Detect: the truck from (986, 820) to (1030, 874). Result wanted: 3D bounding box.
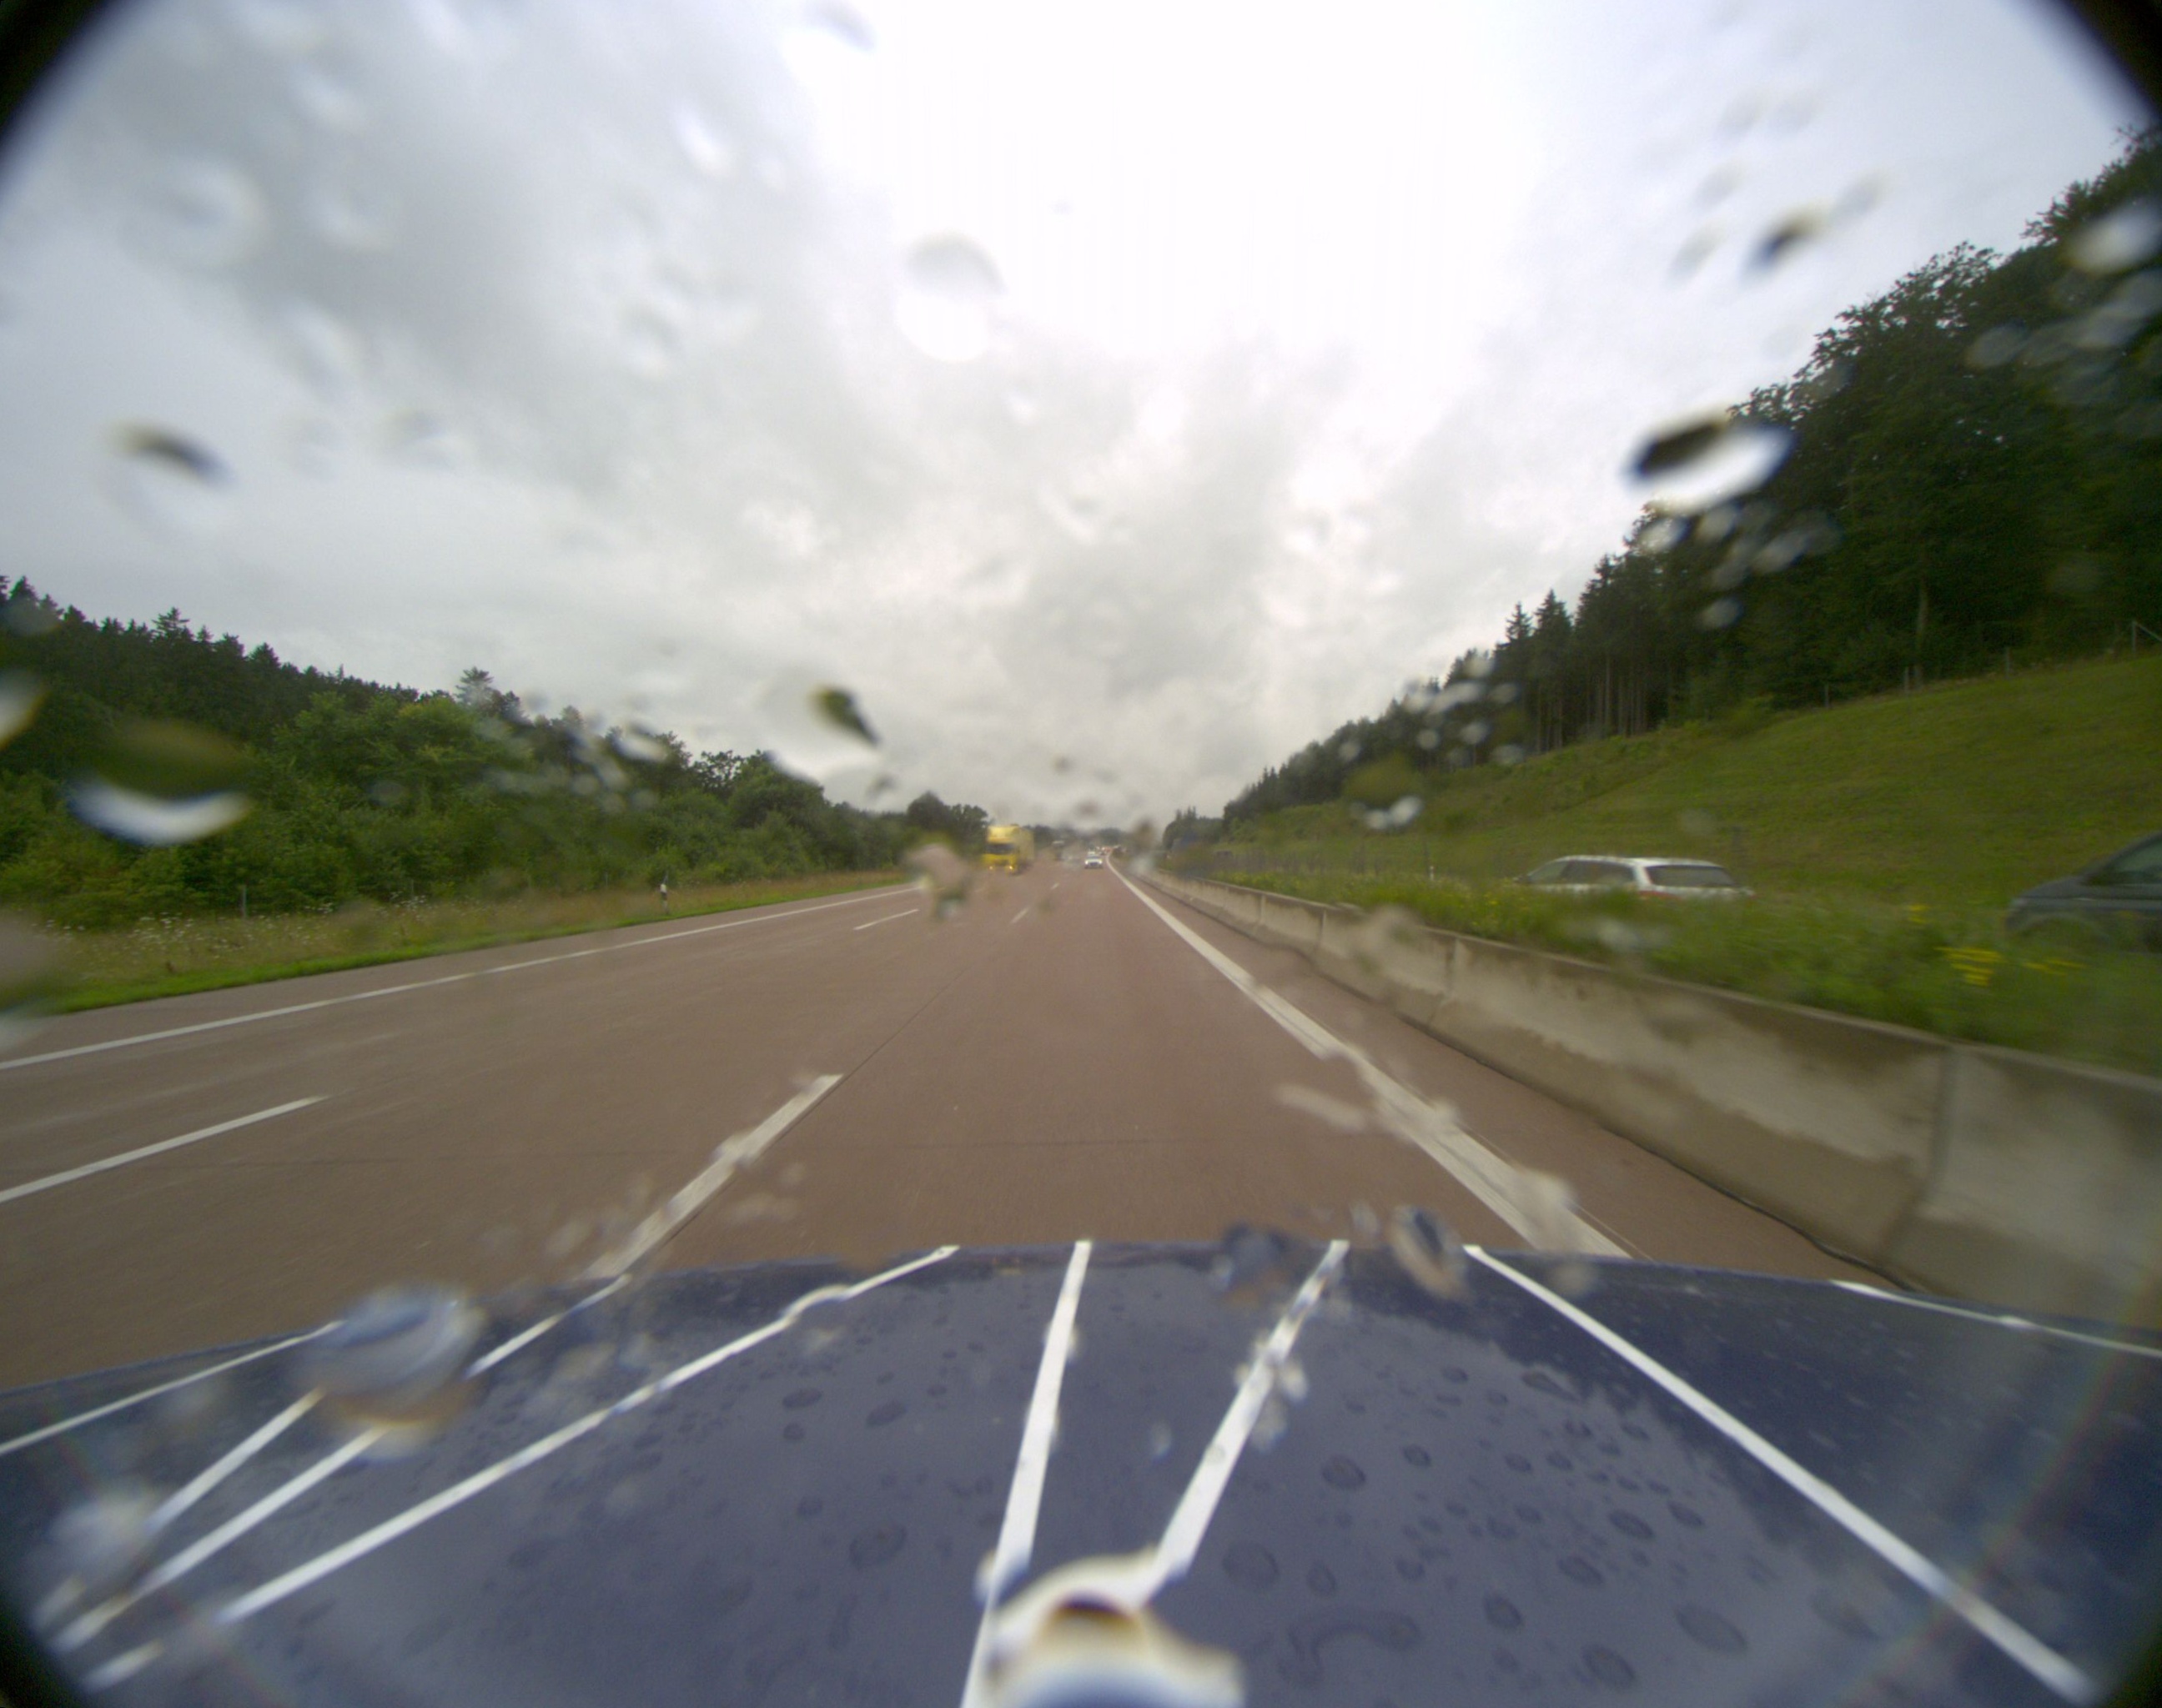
[{"bbox_3d":[-5.977,-0.597,63.209,2.610,4.190,6.249,-2,1,2],"label":"truck"}]

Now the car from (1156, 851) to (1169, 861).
[{"bbox_3d":[15.173,0.403,141.372,1.998,1.756,5.095,-1,0,2],"label":"car"}]

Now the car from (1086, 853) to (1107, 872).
[{"bbox_3d":[1.609,0.841,77.098,1.998,1.623,4.931,-2,1,2],"label":"car"}]

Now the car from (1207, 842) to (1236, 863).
[{"bbox_3d":[14.531,-0.186,78.644,1.998,2.002,5.673,-2,1,1],"label":"car"}]

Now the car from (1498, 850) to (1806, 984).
[{"bbox_3d":[8.374,0.805,11.657,1.847,1.594,3.845,-2,1,1],"label":"car"}]

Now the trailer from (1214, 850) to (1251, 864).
[{"bbox_3d":[14.474,0.255,72.911,2.210,0.992,6.850,-5,1,1],"label":"trailer"}]

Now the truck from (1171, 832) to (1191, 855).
[{"bbox_3d":[19.618,-2.039,149.866,2.931,4.364,7.403,-3,1,2],"label":"truck"}]

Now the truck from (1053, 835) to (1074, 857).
[{"bbox_3d":[-3.577,-1.735,157.121,3.190,4.349,14.703,-2,1,2],"label":"truck"}]

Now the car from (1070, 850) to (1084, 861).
[{"bbox_3d":[-0.592,0.258,126.696,1.998,1.623,4.931,-2,1,2],"label":"car"}]

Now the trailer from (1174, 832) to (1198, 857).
[{"bbox_3d":[19.380,-1.844,141.237,2.926,4.315,13.578,-3,1,2],"label":"trailer"}]

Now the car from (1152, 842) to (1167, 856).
[{"bbox_3d":[11.149,-0.739,108.337,1.895,1.769,4.938,-2,1,3],"label":"car"}]

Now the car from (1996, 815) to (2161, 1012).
[{"bbox_3d":[12.239,0.645,6.766,2.043,2.046,5.069,0,1,1],"label":"car"}]

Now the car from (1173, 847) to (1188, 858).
[{"bbox_3d":[14.345,-0.254,110.068,1.730,1.520,4.117,-2,1,3],"label":"car"}]

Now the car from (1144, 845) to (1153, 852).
[{"bbox_3d":[18.535,-1.443,209.054,2.053,1.683,6.383,-2,1,2],"label":"car"}]

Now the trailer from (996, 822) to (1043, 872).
[{"bbox_3d":[-5.615,-0.777,72.018,2.571,4.204,14.079,-2,1,2],"label":"trailer"}]
